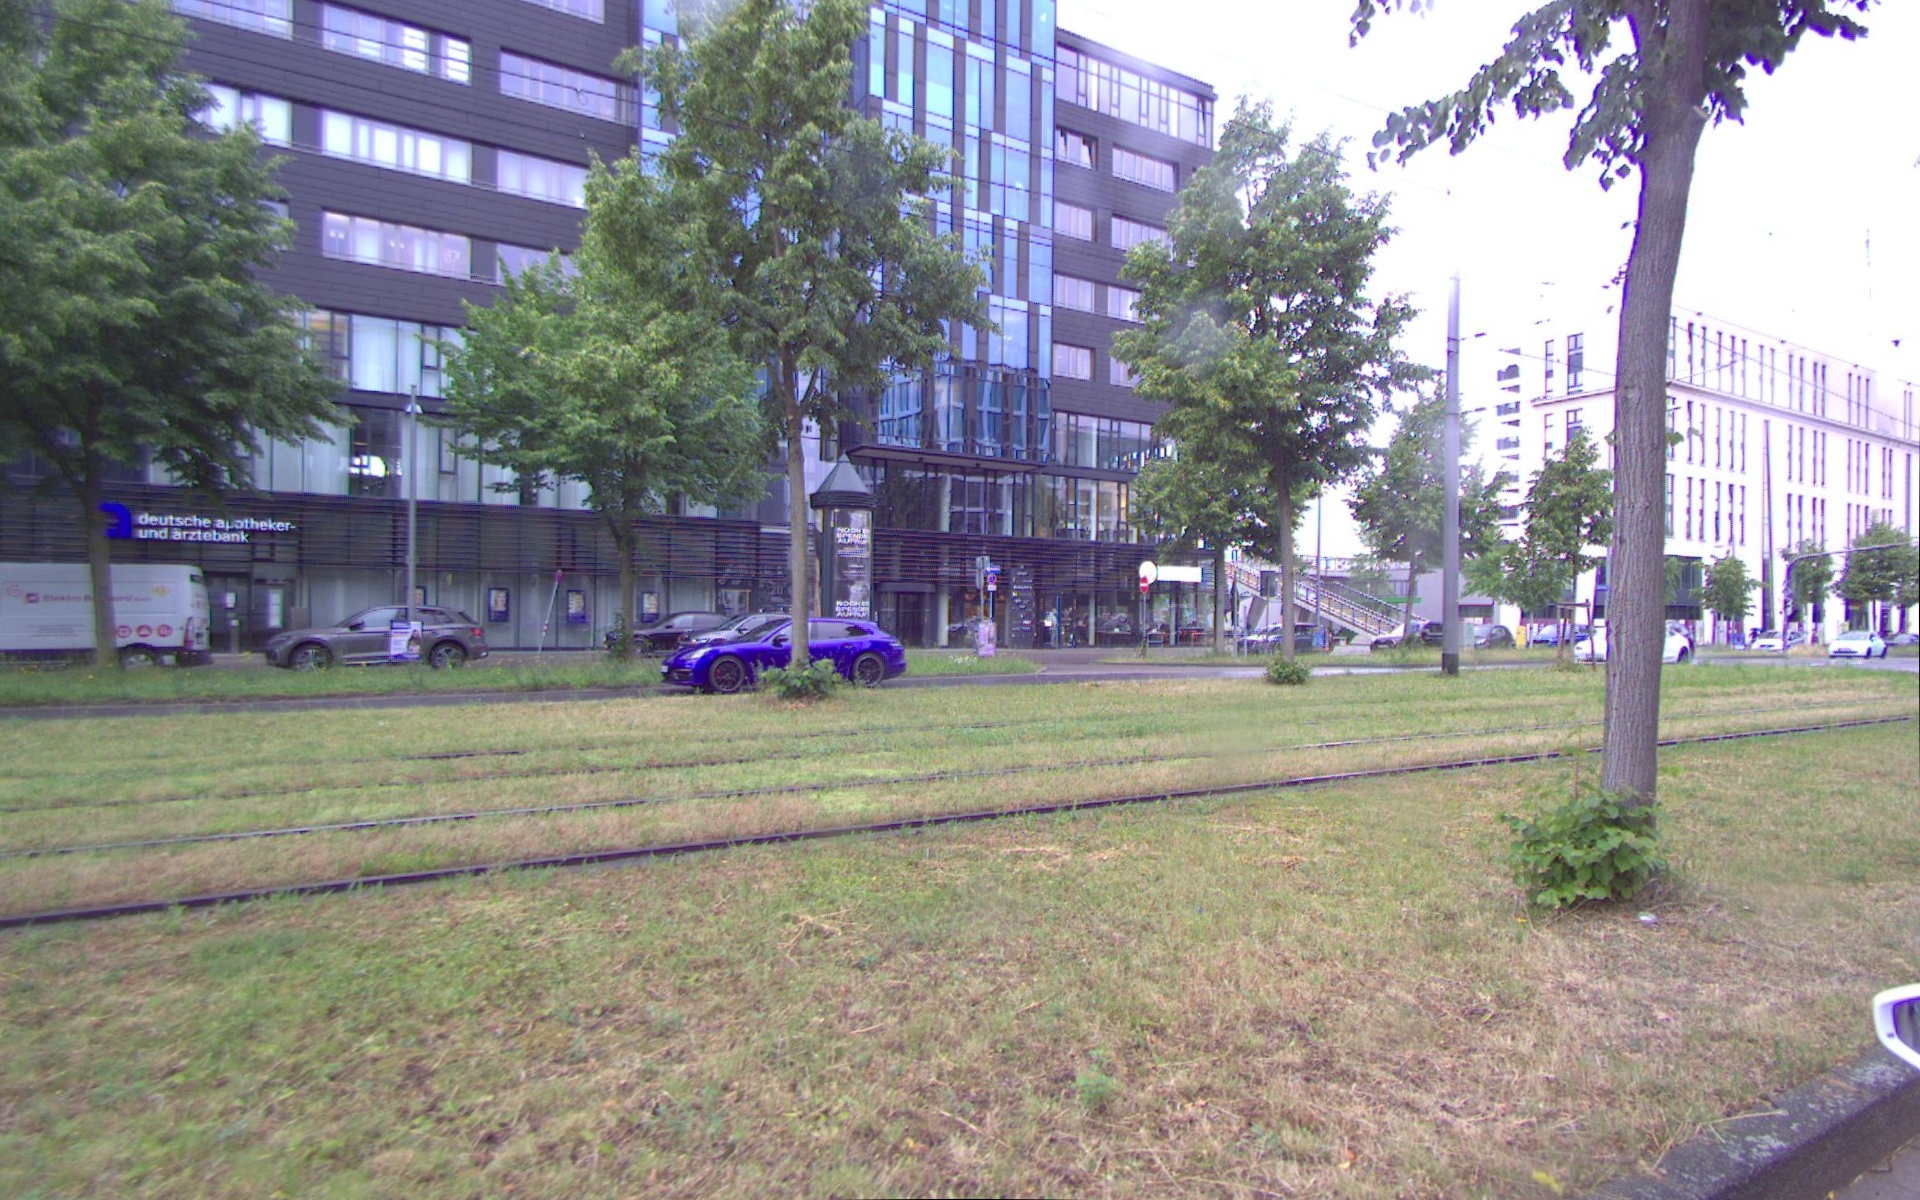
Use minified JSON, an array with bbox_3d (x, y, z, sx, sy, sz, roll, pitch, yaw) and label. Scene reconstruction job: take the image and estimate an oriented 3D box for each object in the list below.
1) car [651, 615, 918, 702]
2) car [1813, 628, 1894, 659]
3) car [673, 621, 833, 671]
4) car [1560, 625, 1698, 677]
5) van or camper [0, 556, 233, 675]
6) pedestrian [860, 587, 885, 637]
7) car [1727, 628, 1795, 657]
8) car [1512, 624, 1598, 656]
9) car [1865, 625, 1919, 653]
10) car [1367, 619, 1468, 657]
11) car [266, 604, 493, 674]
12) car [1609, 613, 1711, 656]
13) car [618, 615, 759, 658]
[{"bbox_3d":[-3.492,1.108,20.284,4.954,1.542,1.983,1,0,-31],"label":"car"},{"bbox_3d":[47.492,2.297,53.388,4.394,1.504,1.984,1,0,-31],"label":"car"},{"bbox_3d":[-6.635,1.450,32.345,4.676,1.424,1.984,1,1,-30],"label":"car"},{"bbox_3d":[21.466,1.581,32.209,4.394,1.504,1.984,1,0,-31],"label":"car"},{"bbox_3d":[-19.097,0.317,21.195,5.780,2.346,2.422,1,0,-30],"label":"van or camper"},{"bbox_3d":[-3.663,0.497,42.013,0.782,2.040,0.699,1,0,-28],"label":"pedestrian"},{"bbox_3d":[48.173,2.529,60.410,3.955,1.639,1.983,1,-1,-32],"label":"car"},{"bbox_3d":[29.580,1.950,49.919,4.399,1.504,1.981,1,0,-34],"label":"car"},{"bbox_3d":[65.673,2.750,70.597,3.954,1.862,1.984,1,0,-31],"label":"car"},{"bbox_3d":[19.822,1.626,43.478,4.399,1.504,1.981,1,0,-34],"label":"car"},{"bbox_3d":[-13.853,0.900,24.204,4.554,1.542,1.983,1,0,-31],"label":"car"},{"bbox_3d":[28.223,1.353,40.501,3.955,1.639,1.983,1,-1,-32],"label":"car"},{"bbox_3d":[-9.335,1.232,34.645,4.398,1.368,1.742,1,0,-31],"label":"car"}]
